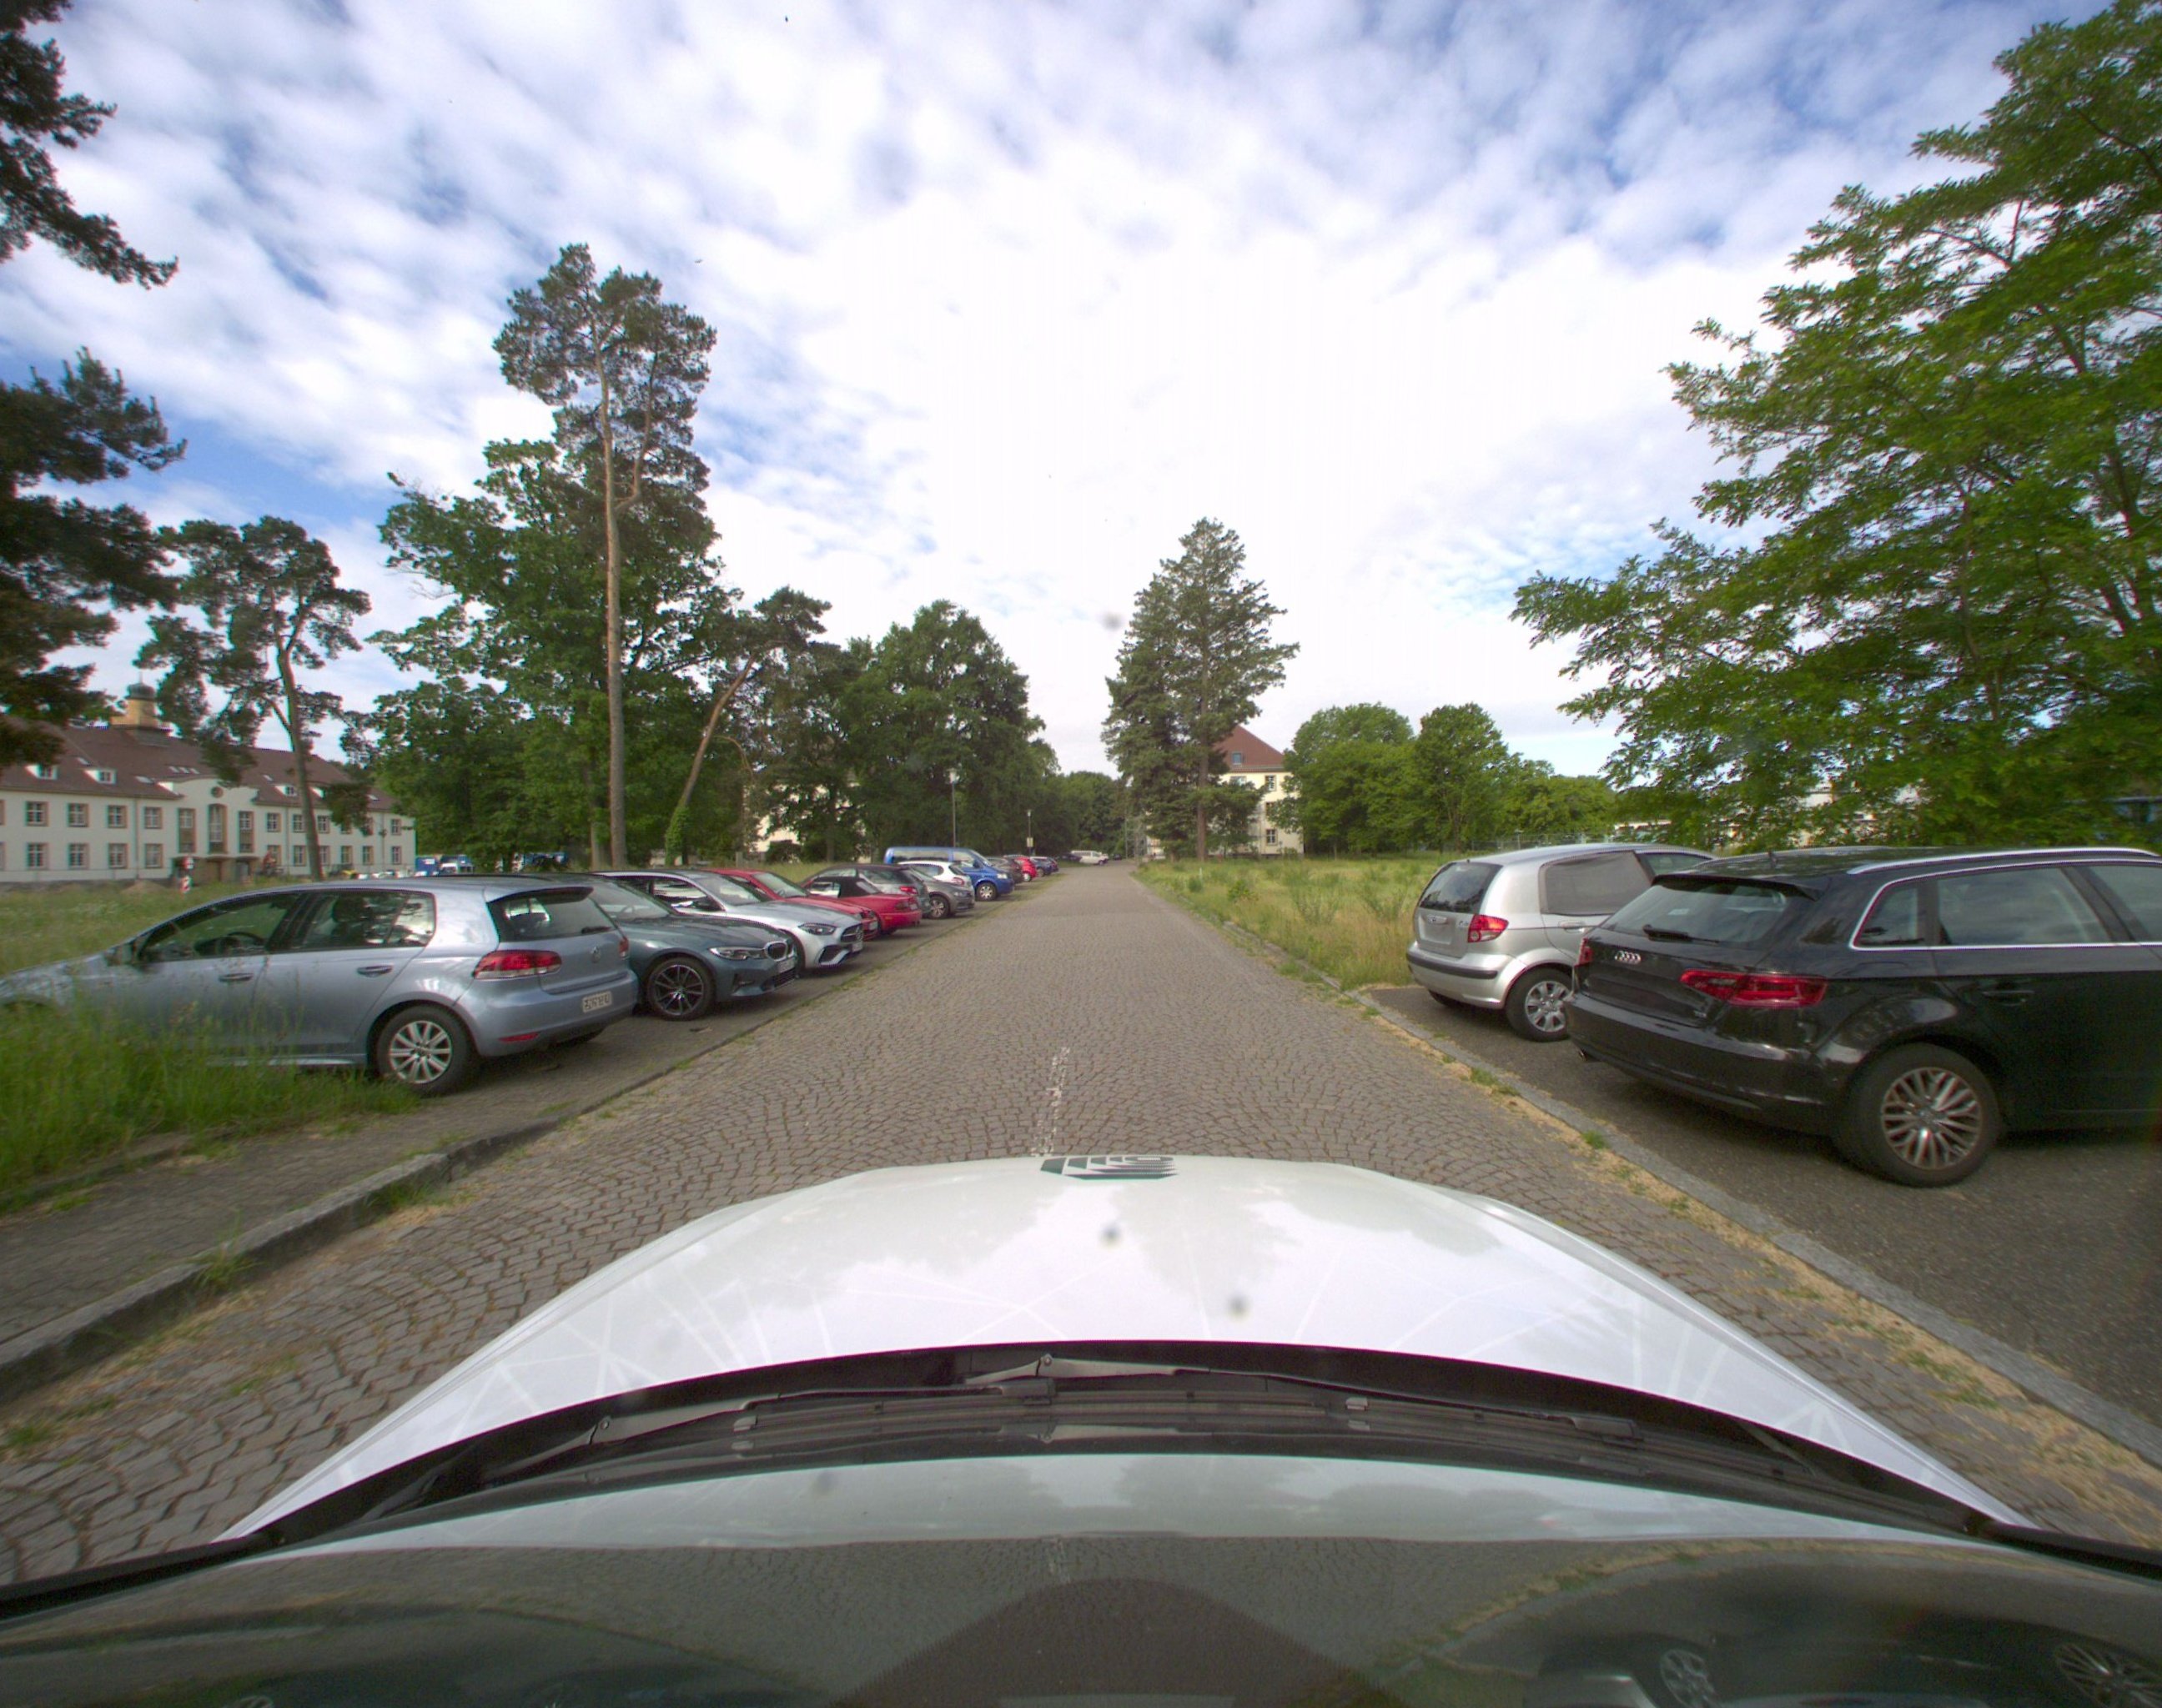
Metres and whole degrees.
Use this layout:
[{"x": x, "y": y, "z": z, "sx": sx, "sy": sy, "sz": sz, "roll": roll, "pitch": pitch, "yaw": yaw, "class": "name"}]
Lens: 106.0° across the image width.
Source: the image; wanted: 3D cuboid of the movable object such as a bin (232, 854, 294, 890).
[{"x": -87.825, "y": 1.983, "z": 87.489, "sx": 6.066, "sy": 3.642, "sz": 2.151, "roll": -2, "pitch": -2, "yaw": 18, "class": "movable object such as a bin"}]

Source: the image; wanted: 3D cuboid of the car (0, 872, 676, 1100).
[{"x": -5.807, "y": 0.917, "z": 6.394, "sx": 4.312, "sy": 1.470, "sz": 1.828, "roll": -1, "pitch": -1, "yaw": 2, "class": "car"}]

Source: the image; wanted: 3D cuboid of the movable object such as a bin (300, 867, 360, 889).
[{"x": -81.939, "y": 2.564, "z": 88.890, "sx": 4.484, "sy": 2.254, "sz": 2.384, "roll": -2, "pitch": -2, "yaw": 6, "class": "movable object such as a bin"}]

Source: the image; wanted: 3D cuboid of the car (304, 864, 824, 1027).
[{"x": -5.396, "y": 0.906, "z": 9.017, "sx": 4.490, "sy": 1.537, "sz": 1.869, "roll": -1, "pitch": -1, "yaw": -2, "class": "car"}]

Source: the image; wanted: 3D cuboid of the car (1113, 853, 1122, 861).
[{"x": 8.086, "y": 0.691, "z": 179.478, "sx": 1.784, "sy": 1.720, "sz": 4.060, "roll": -1, "pitch": -2, "yaw": 0, "class": "car"}]

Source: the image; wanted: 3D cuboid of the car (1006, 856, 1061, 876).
[{"x": -3.726, "y": 0.937, "z": 64.253, "sx": 4.052, "sy": 1.467, "sz": 1.628, "roll": -1, "pitch": 0, "yaw": 4, "class": "car"}]

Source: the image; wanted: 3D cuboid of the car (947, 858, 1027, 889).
[{"x": -4.780, "y": 0.961, "z": 41.785, "sx": 3.802, "sy": 1.486, "sz": 1.762, "roll": -1, "pitch": 0, "yaw": 1, "class": "car"}]

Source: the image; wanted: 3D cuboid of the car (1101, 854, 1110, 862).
[{"x": 5.464, "y": 0.792, "z": 179.190, "sx": 1.784, "sy": 1.636, "sz": 4.060, "roll": -1, "pitch": -2, "yaw": 0, "class": "car"}]

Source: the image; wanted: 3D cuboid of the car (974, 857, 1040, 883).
[{"x": -4.464, "y": 0.961, "z": 49.311, "sx": 3.803, "sy": 1.489, "sz": 1.787, "roll": -1, "pitch": 0, "yaw": 0, "class": "car"}]

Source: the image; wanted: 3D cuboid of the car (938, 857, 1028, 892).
[{"x": -4.642, "y": 0.966, "z": 38.995, "sx": 4.055, "sy": 1.575, "sz": 1.954, "roll": -1, "pitch": 0, "yaw": 0, "class": "car"}]

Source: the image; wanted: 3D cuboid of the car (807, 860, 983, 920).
[{"x": -4.929, "y": 0.952, "z": 21.957, "sx": 4.287, "sy": 1.480, "sz": 1.732, "roll": -1, "pitch": 0, "yaw": 2, "class": "car"}]

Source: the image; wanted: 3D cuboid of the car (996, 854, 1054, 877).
[{"x": -4.046, "y": 0.851, "z": 59.559, "sx": 4.059, "sy": 1.604, "sz": 1.787, "roll": -1, "pitch": 0, "yaw": -1, "class": "car"}]

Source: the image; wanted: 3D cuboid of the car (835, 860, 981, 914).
[{"x": -5.200, "y": 0.985, "z": 24.827, "sx": 3.989, "sy": 1.501, "sz": 1.844, "roll": -1, "pitch": 0, "yaw": 2, "class": "car"}]

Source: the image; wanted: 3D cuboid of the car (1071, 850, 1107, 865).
[{"x": 1.170, "y": 0.487, "z": 113.183, "sx": 4.962, "sy": 2.073, "sz": 2.051, "roll": 0, "pitch": -2, "yaw": 0, "class": "car"}]

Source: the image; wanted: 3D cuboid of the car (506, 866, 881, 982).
[{"x": -5.364, "y": 0.941, "z": 11.703, "sx": 4.420, "sy": 1.455, "sz": 1.950, "roll": -1, "pitch": -1, "yaw": 2, "class": "car"}]

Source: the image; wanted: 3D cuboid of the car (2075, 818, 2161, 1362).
[{"x": 5.294, "y": 0.538, "z": 1.739, "sx": 4.321, "sy": 1.574, "sz": 1.824, "roll": -4, "pitch": -1, "yaw": -4, "class": "car"}]

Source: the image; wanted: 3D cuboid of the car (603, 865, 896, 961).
[{"x": -5.542, "y": 0.966, "z": 14.015, "sx": 4.239, "sy": 1.455, "sz": 1.856, "roll": -1, "pitch": 0, "yaw": 1, "class": "car"}]

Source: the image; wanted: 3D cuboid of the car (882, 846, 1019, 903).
[{"x": -4.742, "y": 0.730, "z": 30.123, "sx": 4.693, "sy": 1.980, "sz": 2.038, "roll": -1, "pitch": 0, "yaw": 0, "class": "car"}]

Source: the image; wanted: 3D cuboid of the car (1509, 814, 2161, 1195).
[{"x": 4.995, "y": 0.602, "z": 4.430, "sx": 4.353, "sy": 1.406, "sz": 1.796, "roll": -4, "pitch": 1, "yaw": -1, "class": "car"}]

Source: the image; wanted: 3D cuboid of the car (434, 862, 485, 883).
[{"x": -66.571, "y": 2.014, "z": 87.333, "sx": 2.054, "sy": 2.095, "sz": 4.345, "roll": -2, "pitch": -2, "yaw": 1, "class": "car"}]

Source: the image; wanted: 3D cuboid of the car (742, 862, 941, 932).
[{"x": -5.510, "y": 0.971, "z": 19.080, "sx": 4.072, "sy": 1.480, "sz": 1.756, "roll": -1, "pitch": 0, "yaw": 2, "class": "car"}]

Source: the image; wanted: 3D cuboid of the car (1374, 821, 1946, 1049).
[{"x": 4.793, "y": 0.598, "z": 7.135, "sx": 3.762, "sy": 1.479, "sz": 1.742, "roll": -4, "pitch": 1, "yaw": -2, "class": "car"}]

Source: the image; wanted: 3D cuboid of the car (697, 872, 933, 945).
[{"x": -5.227, "y": 1.061, "z": 16.394, "sx": 4.116, "sy": 1.283, "sz": 1.764, "roll": -1, "pitch": 0, "yaw": 1, "class": "car"}]
